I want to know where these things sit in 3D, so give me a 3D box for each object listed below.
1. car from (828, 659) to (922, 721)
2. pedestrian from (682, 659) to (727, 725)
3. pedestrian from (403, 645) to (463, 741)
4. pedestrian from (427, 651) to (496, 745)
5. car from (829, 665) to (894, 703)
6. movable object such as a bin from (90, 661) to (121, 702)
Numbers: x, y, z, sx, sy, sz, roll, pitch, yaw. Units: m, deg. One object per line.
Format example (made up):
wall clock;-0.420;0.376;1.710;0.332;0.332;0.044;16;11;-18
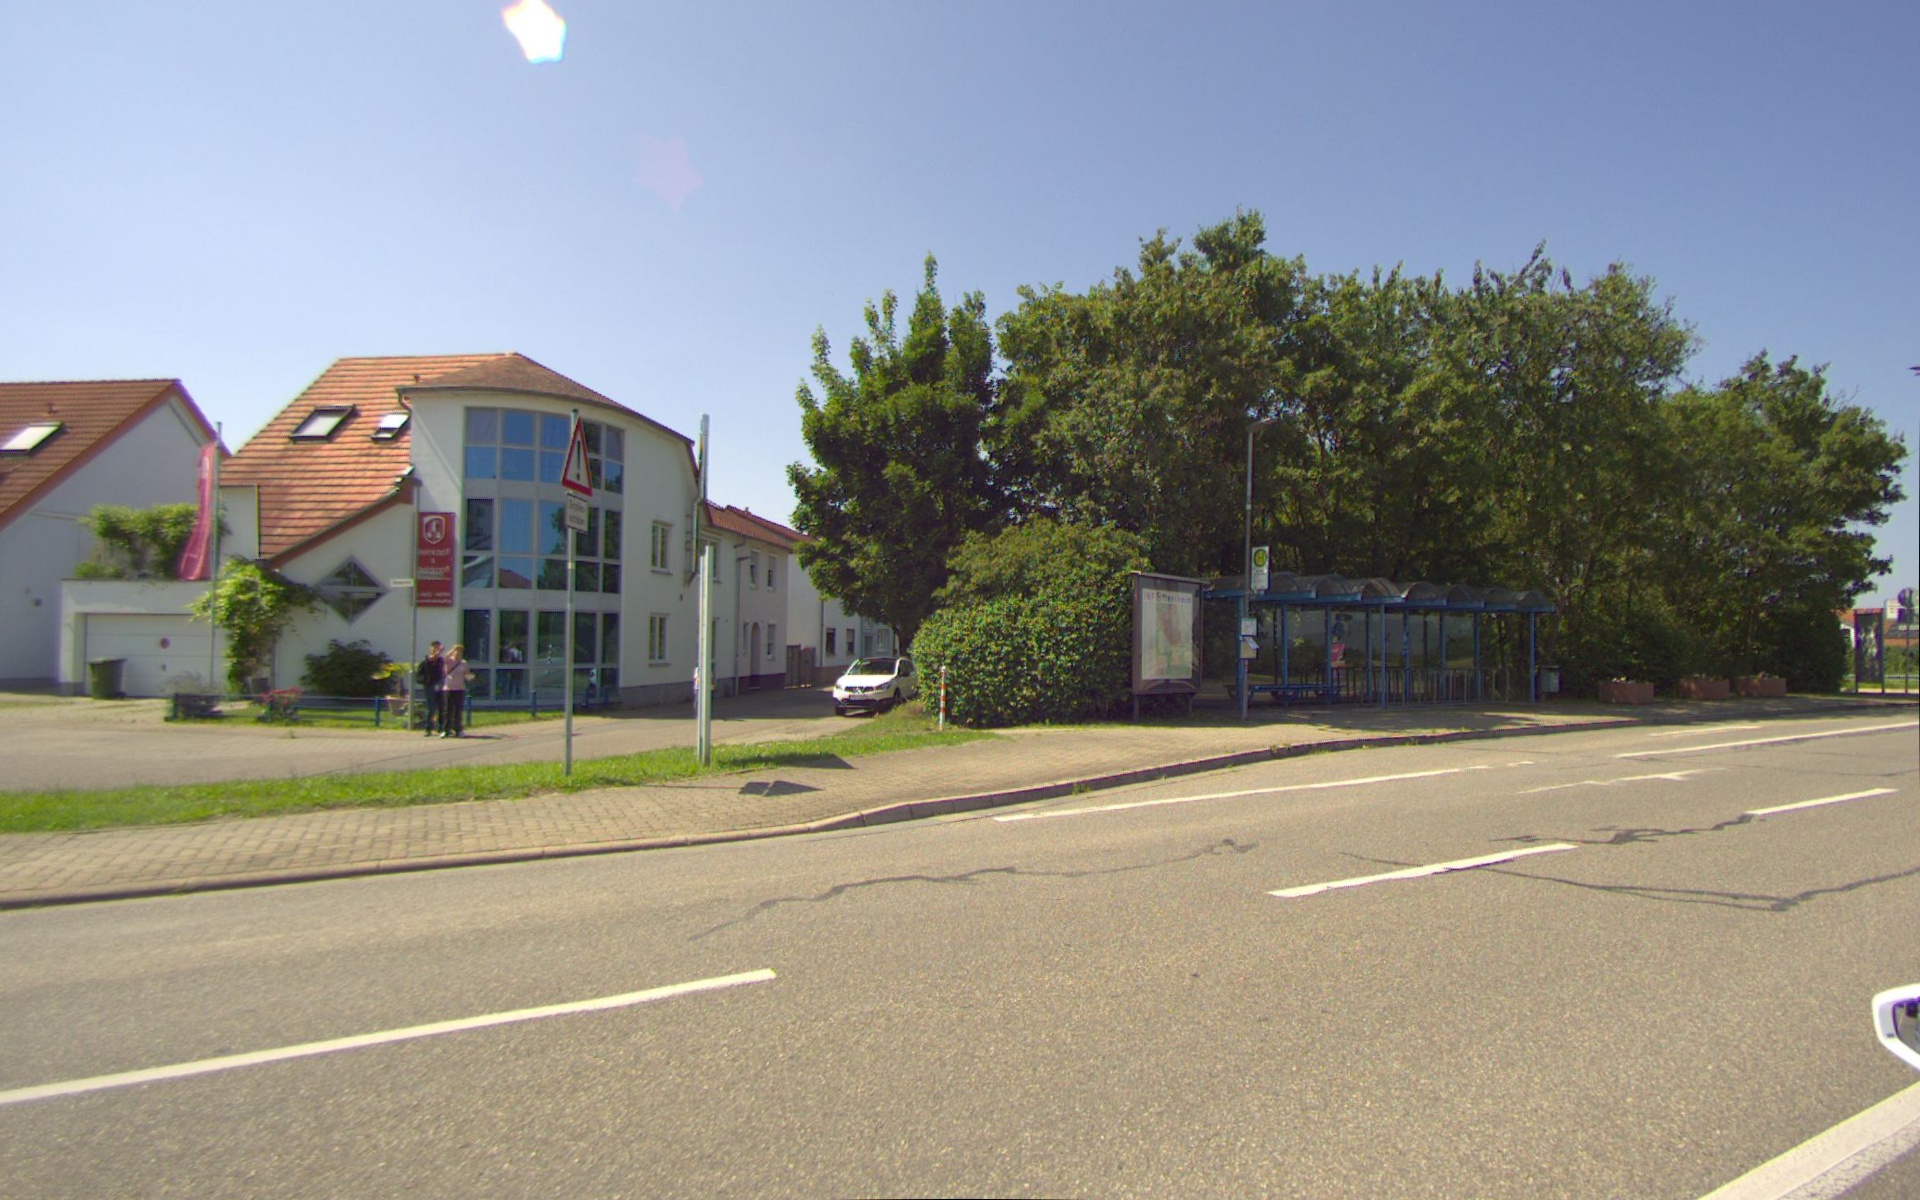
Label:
car;-2.371;2.529;28.857;1.769;1.588;3.585;0;-2;11
pedestrian;-6.321;2.270;24.895;0.905;1.587;0.790;0;-2;-1
pedestrian;-10.383;1.808;19.802;0.695;1.845;0.805;0;-2;2
pedestrian;-9.728;1.889;19.630;0.799;1.763;0.961;0;-2;2
car;-3.448;2.966;35.799;1.423;1.220;3.562;0;-3;9
movable object such as a bin;-22.778;2.171;26.777;0.558;1.076;0.396;2;-3;-36
